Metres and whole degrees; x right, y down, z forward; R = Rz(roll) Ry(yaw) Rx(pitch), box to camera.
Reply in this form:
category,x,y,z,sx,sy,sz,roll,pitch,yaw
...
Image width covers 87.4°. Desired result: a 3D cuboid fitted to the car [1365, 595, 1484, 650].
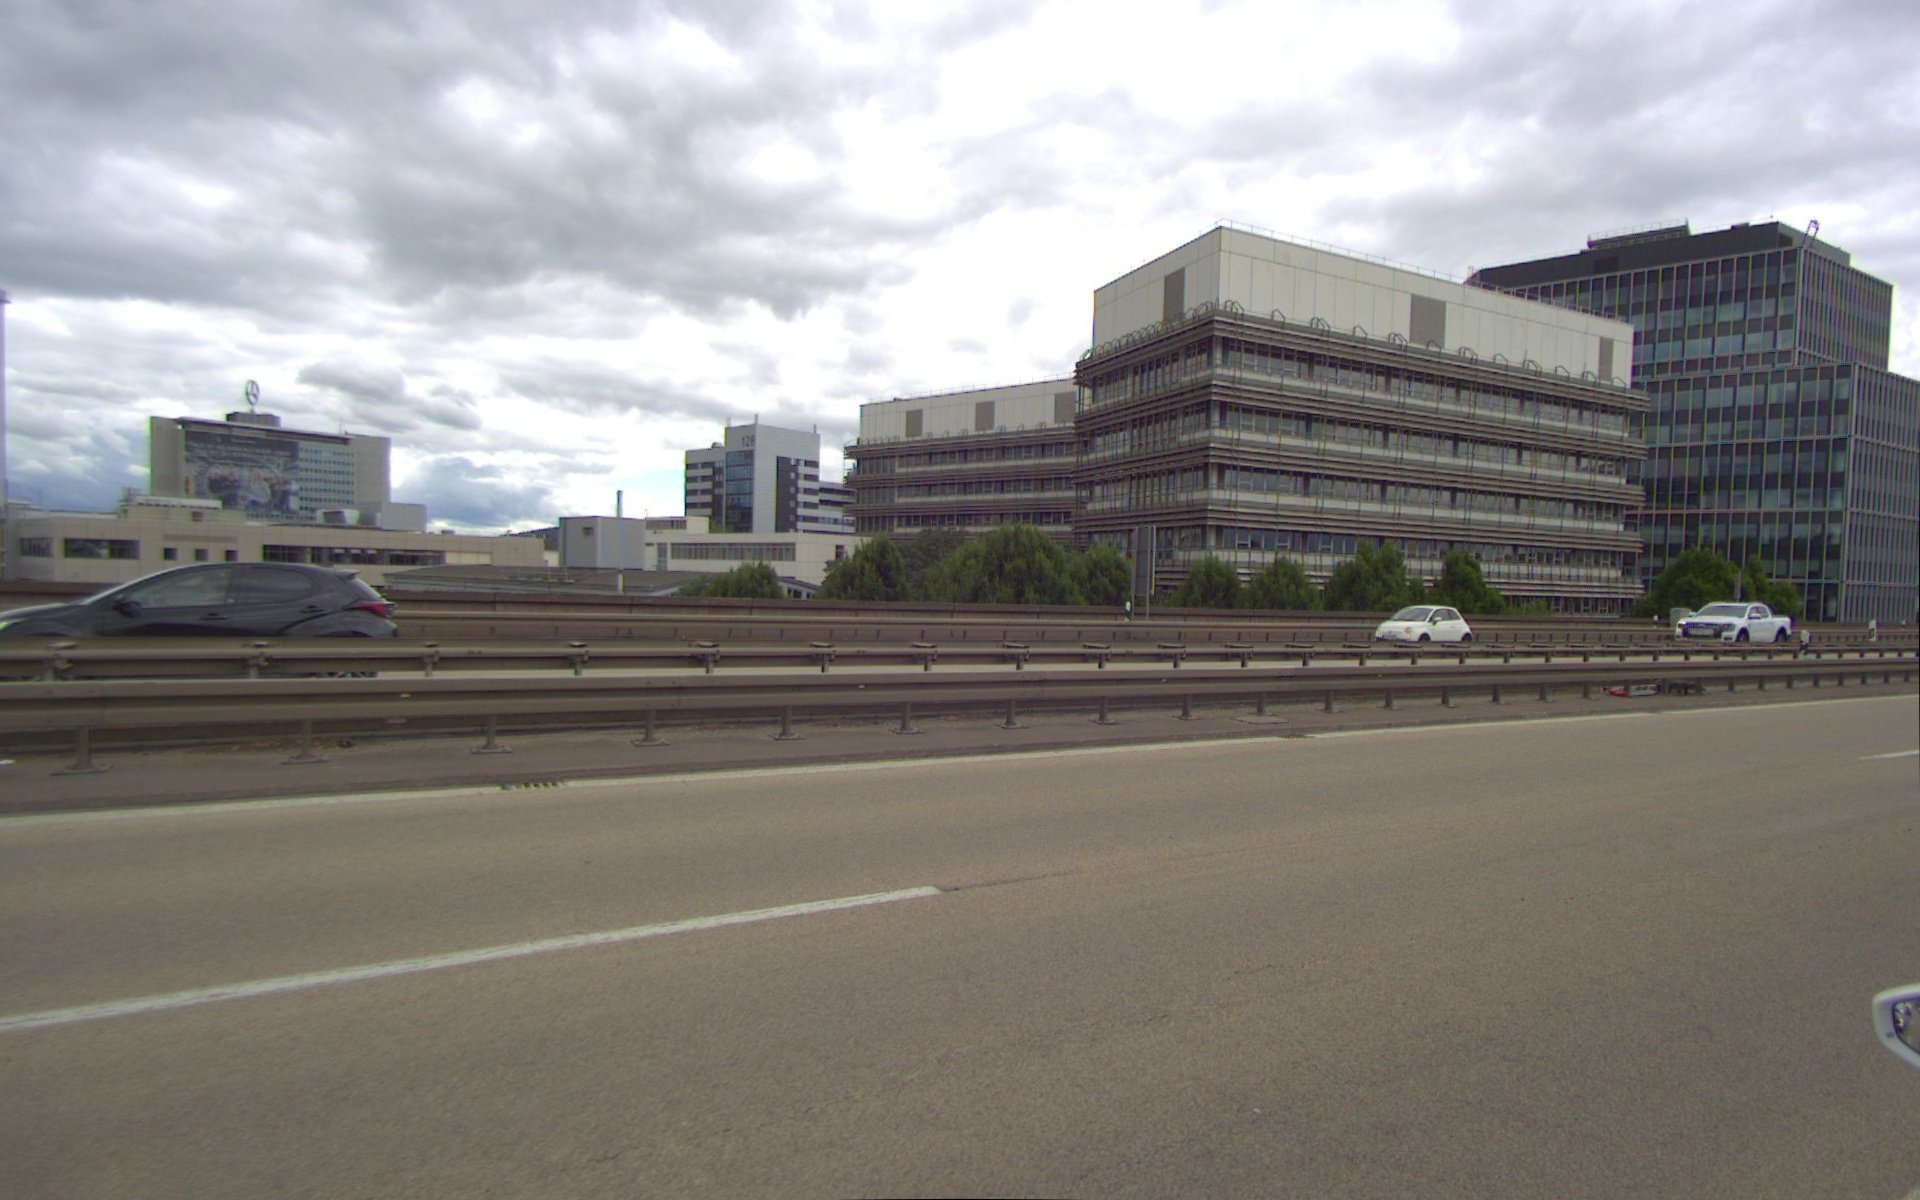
category,x,y,z,sx,sy,sz,roll,pitch,yaw
car,15.300,0.751,33.051,3.732,1.672,1.674,2,1,-31

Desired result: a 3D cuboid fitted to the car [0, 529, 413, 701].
category,x,y,z,sx,sy,sz,roll,pitch,yaw
car,-8.312,0.166,11.296,3.732,1.672,1.674,2,1,-31

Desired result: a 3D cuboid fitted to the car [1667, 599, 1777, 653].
category,x,y,z,sx,sy,sz,roll,pitch,yaw
car,26.907,0.917,35.453,3.732,1.743,1.777,2,1,-31
